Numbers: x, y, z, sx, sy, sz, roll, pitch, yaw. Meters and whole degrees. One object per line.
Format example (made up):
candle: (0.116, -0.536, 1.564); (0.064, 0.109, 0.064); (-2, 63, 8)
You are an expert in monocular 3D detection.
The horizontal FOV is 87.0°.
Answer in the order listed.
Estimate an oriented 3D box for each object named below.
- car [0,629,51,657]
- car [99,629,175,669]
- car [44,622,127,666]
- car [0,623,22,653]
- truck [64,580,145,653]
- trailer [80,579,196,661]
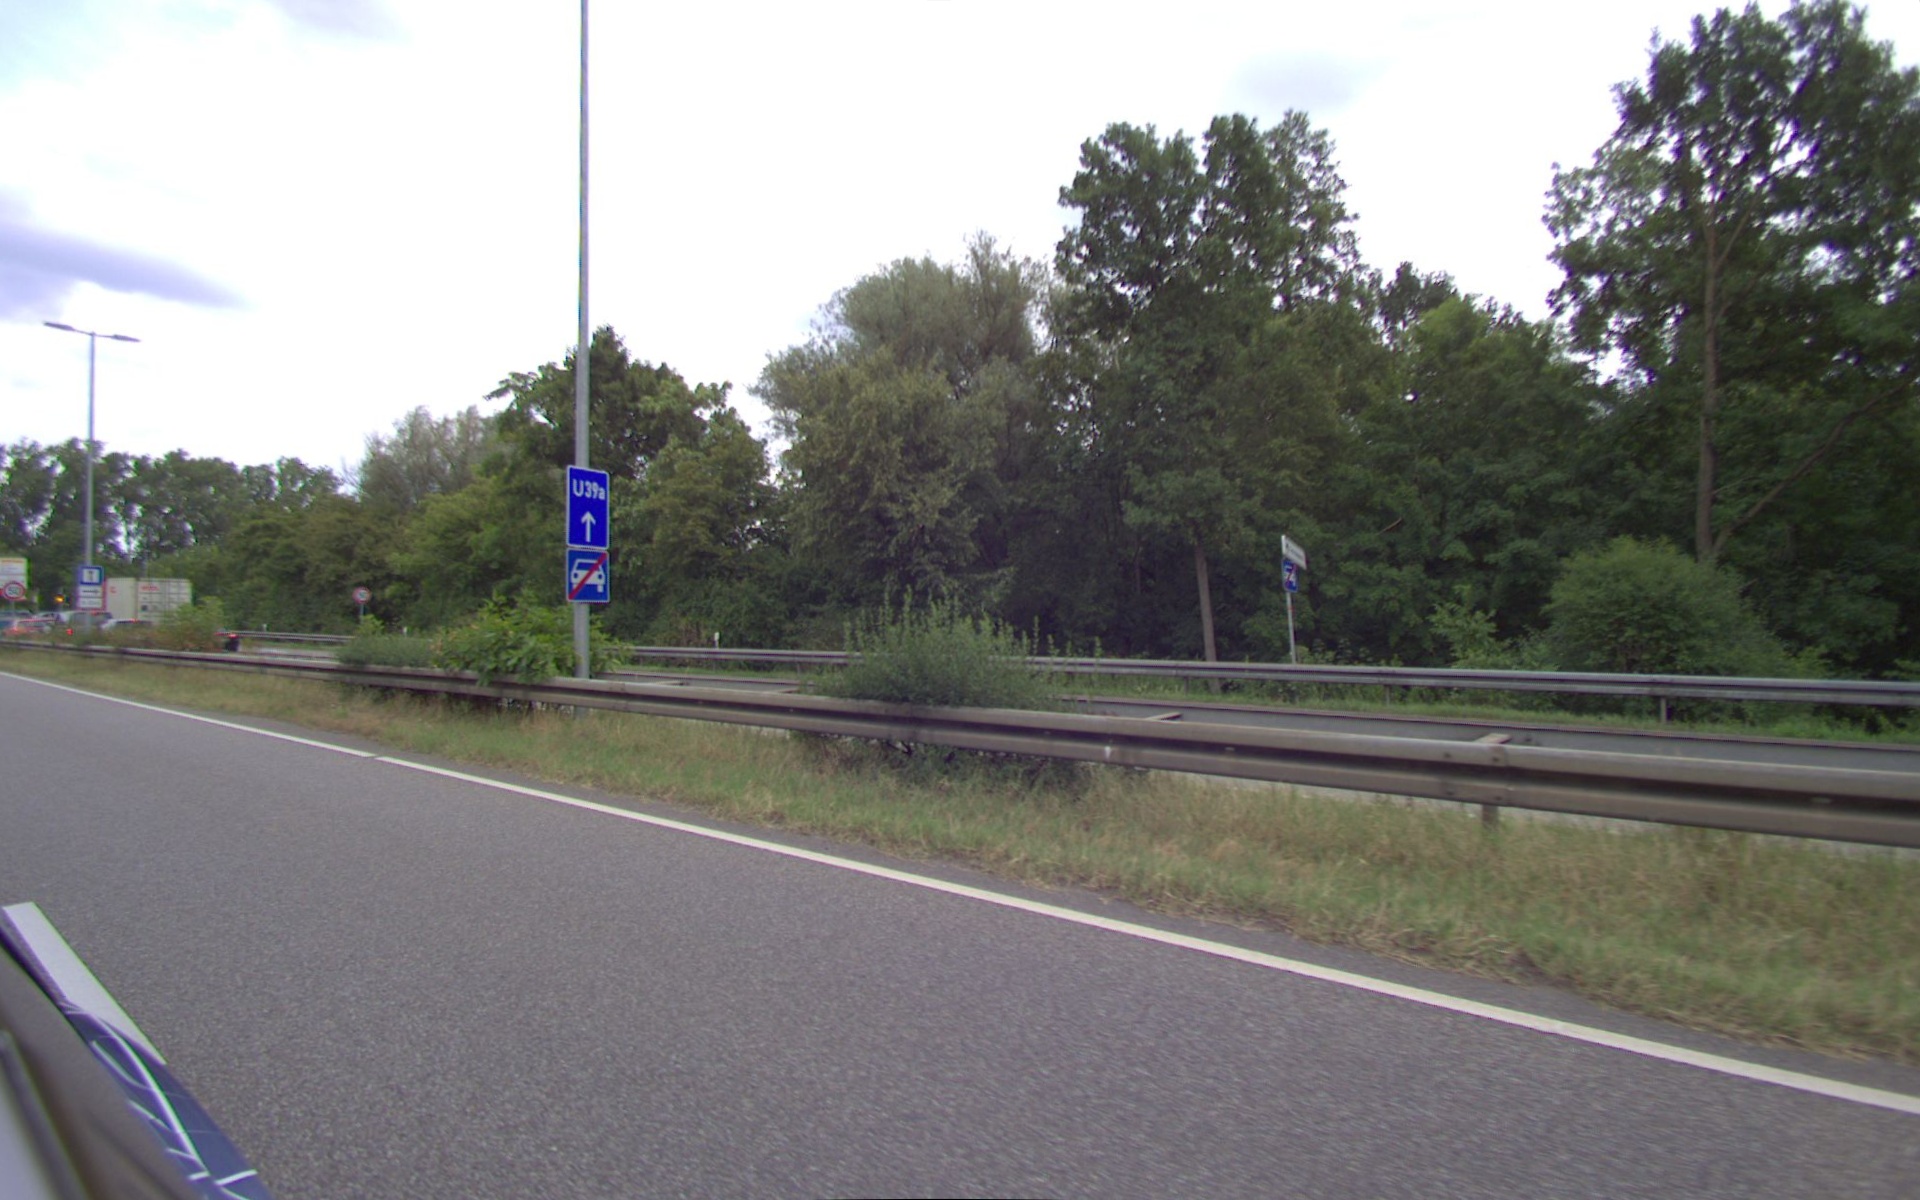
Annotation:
car: (-54.929, 2.483, 59.204); (4.118, 1.443, 1.788); (0, -1, 36)
car: (-35.078, 2.054, 43.088); (3.936, 1.517, 1.749); (0, -1, 39)
car: (-41.709, 2.056, 48.223); (5.270, 1.877, 1.990); (0, -1, 38)
car: (-60.195, 2.367, 62.880); (4.949, 1.742, 1.788); (0, -1, 35)
truck: (-50.329, 0.940, 59.498); (5.615, 4.114, 2.544); (0, -1, 38)
trailer: (-45.234, 1.022, 55.541); (10.755, 4.178, 2.511); (0, -1, 38)
